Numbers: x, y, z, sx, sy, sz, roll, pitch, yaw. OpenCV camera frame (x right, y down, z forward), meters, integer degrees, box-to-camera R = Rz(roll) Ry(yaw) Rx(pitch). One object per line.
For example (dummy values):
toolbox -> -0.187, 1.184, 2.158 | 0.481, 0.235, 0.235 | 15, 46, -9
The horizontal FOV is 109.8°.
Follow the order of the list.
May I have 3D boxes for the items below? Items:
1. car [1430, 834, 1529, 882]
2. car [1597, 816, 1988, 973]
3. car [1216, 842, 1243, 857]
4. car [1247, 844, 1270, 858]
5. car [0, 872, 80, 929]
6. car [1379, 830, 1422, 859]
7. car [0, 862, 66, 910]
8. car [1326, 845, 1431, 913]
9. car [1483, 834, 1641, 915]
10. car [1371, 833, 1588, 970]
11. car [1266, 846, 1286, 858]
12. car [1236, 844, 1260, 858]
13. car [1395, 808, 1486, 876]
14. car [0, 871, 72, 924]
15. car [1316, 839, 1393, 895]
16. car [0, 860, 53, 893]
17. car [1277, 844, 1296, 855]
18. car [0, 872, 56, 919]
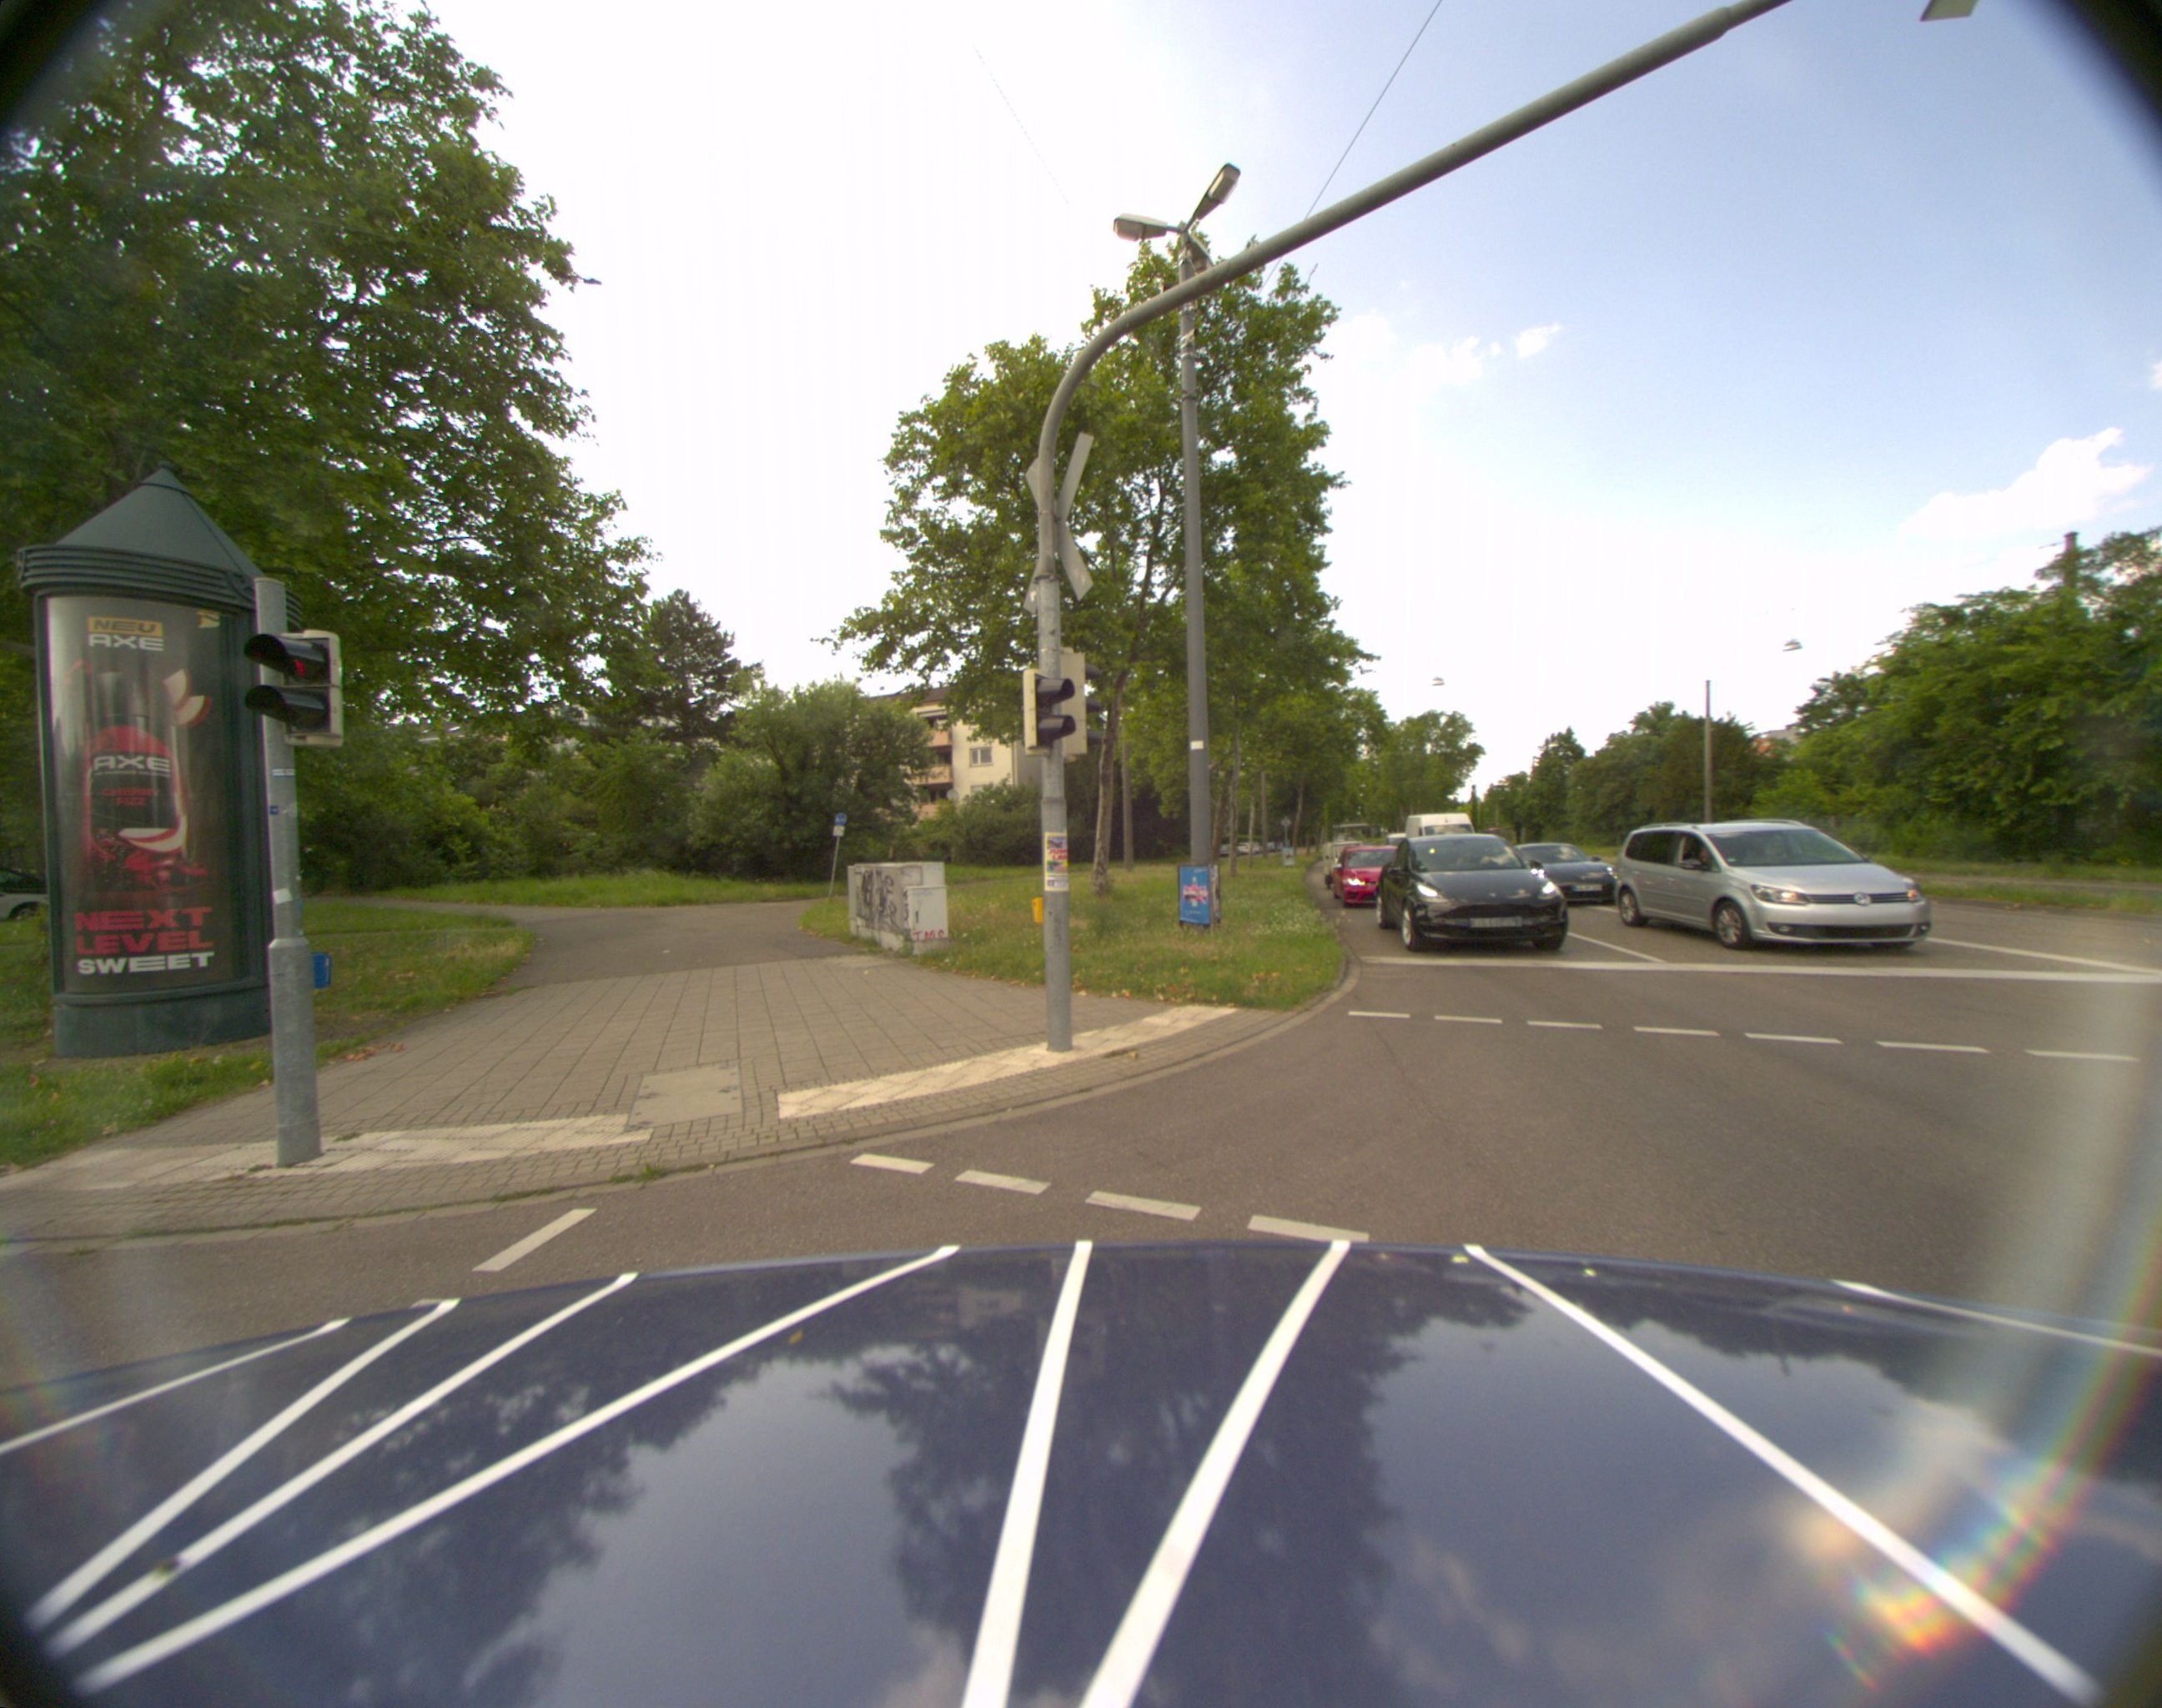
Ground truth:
car -> 12.802, 0.073, 24.686 | 1.762, 1.367, 4.347 | -3, 1, 13
car -> 9.242, 0.413, 10.528 | 1.927, 1.642, 4.505 | -3, 1, 13
car -> 16.156, -0.452, 82.744 | 1.772, 1.586, 3.664 | -1, -1, 29
car -> 22.192, -0.375, 94.786 | 1.772, 1.586, 3.664 | -1, -1, 29
car -> -33.764, 1.486, 22.649 | 1.995, 1.634, 4.551 | -2, 1, 33
car -> 19.870, -0.611, 47.361 | 1.762, 1.637, 4.347 | -1, 1, 13
car -> -47.909, 1.465, 32.936 | 1.994, 2.002, 4.565 | -2, 1, 36
car -> 7.372, 0.541, 19.245 | 1.799, 1.383, 4.505 | -3, 1, 13
car -> 10.535, 0.370, 16.980 | 1.801, 1.499, 4.004 | -3, 1, 15
car -> 5.761, 0.552, 11.644 | 1.928, 1.642, 4.584 | -3, 1, 15
car -> 26.950, -0.306, 104.757 | 1.772, 1.586, 3.664 | -1, -1, 29
car -> 20.010, -0.392, 91.121 | 1.772, 1.586, 3.664 | -1, -1, 29
car -> 15.234, -0.535, 32.560 | 2.224, 2.515, 5.938 | -3, 1, 13
car -> -35.913, 1.487, 24.073 | 1.995, 1.634, 4.551 | -2, 1, 33
car -> 8.847, 0.356, 24.942 | 1.799, 1.561, 4.505 | -3, 1, 13
car -> -110.720, 2.298, 77.008 | 2.967, 3.310, 7.474 | -1, -1, 30
car -> 30.320, -0.662, 111.911 | 1.772, 1.586, 3.664 | -1, -1, 29
car -> -40.248, 1.595, 26.889 | 1.995, 1.634, 4.551 | -2, 1, 33
